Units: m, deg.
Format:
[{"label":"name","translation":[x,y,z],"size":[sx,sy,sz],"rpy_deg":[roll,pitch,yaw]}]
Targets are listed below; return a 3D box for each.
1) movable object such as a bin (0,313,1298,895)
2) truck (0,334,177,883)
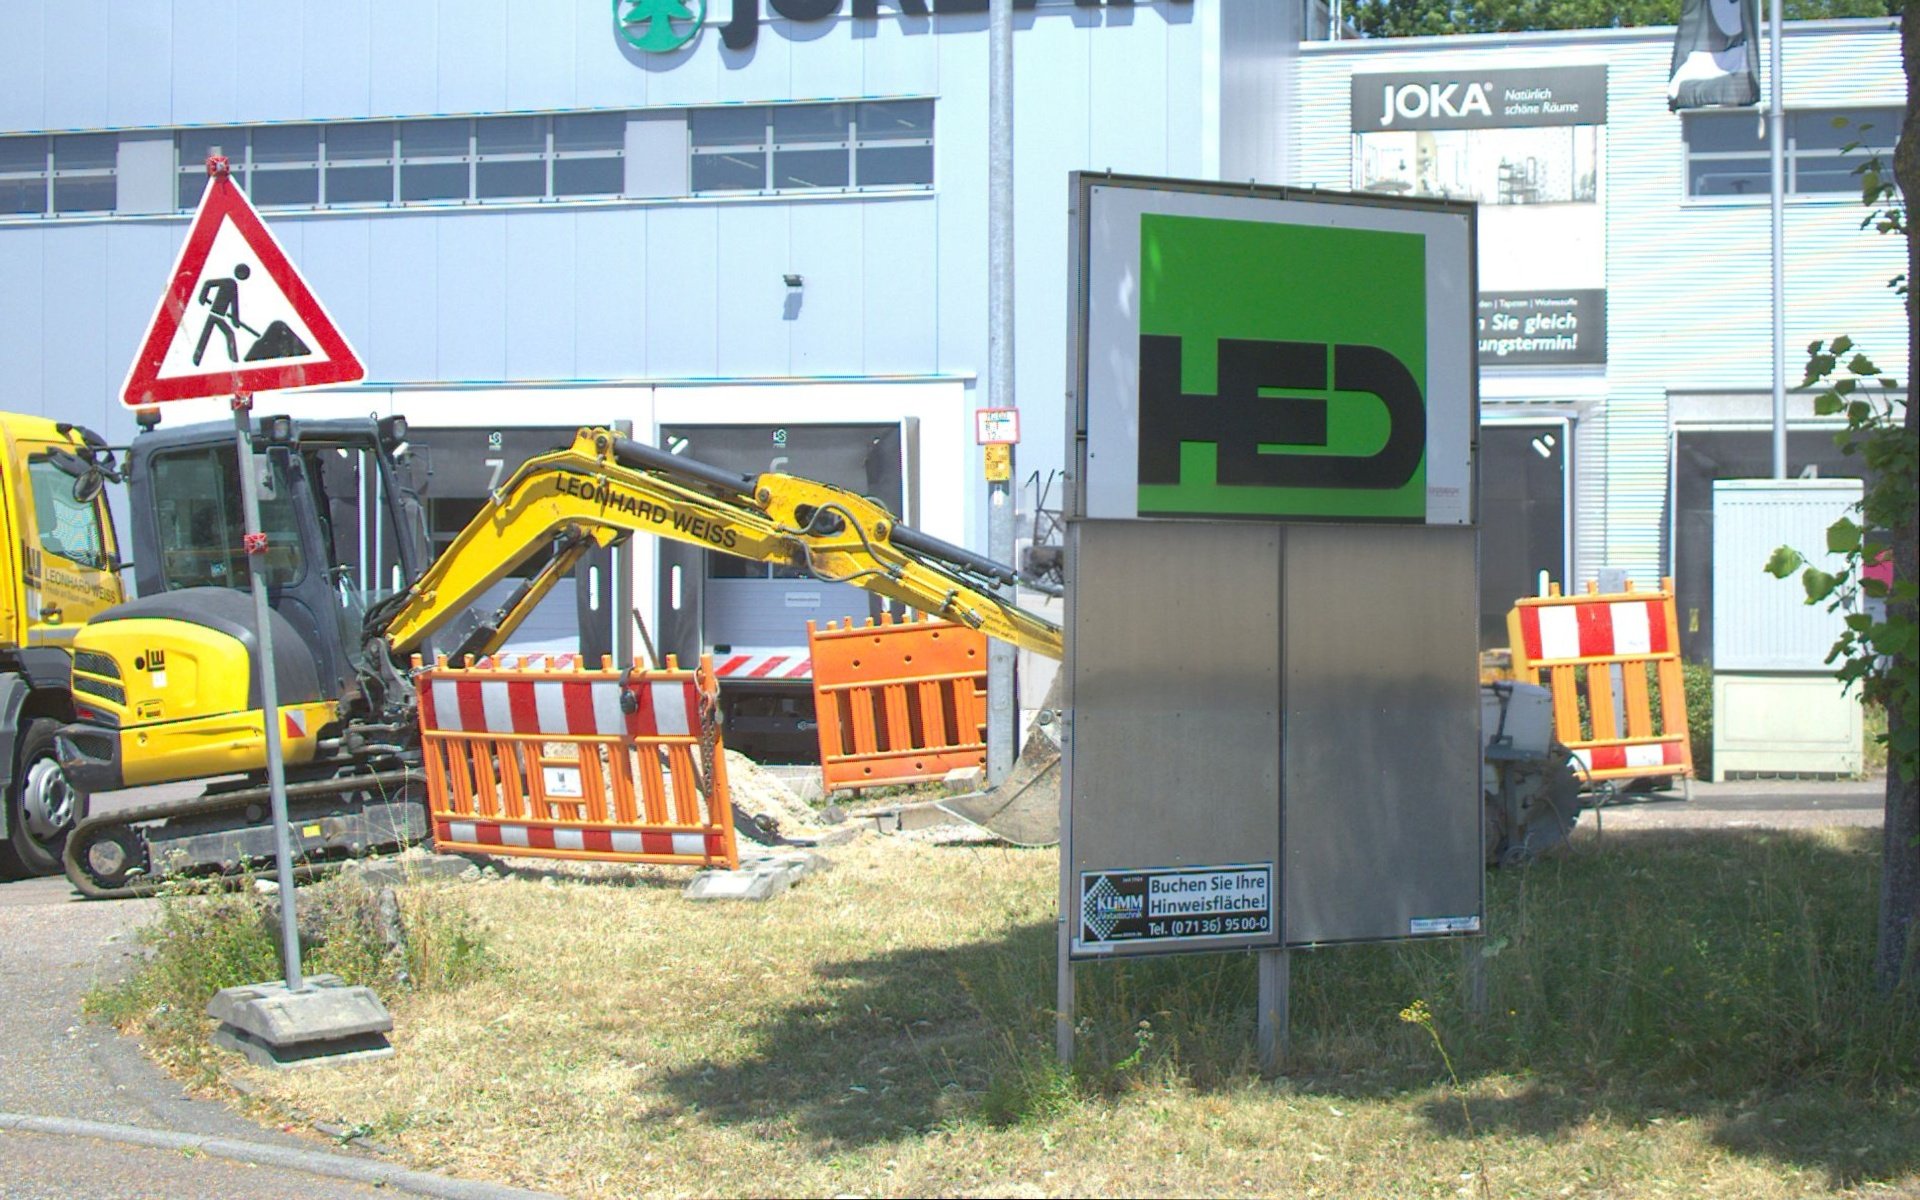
[{"label":"movable object such as a bin","translation":[-1.758,0.126,17.616],"size":[6.563,2.572,1.998],"rpy_deg":[-2,-1,22]},{"label":"truck","translation":[-7.000,0.146,18.844],"size":[2.588,3.125,6.421],"rpy_deg":[-3,2,13]}]
